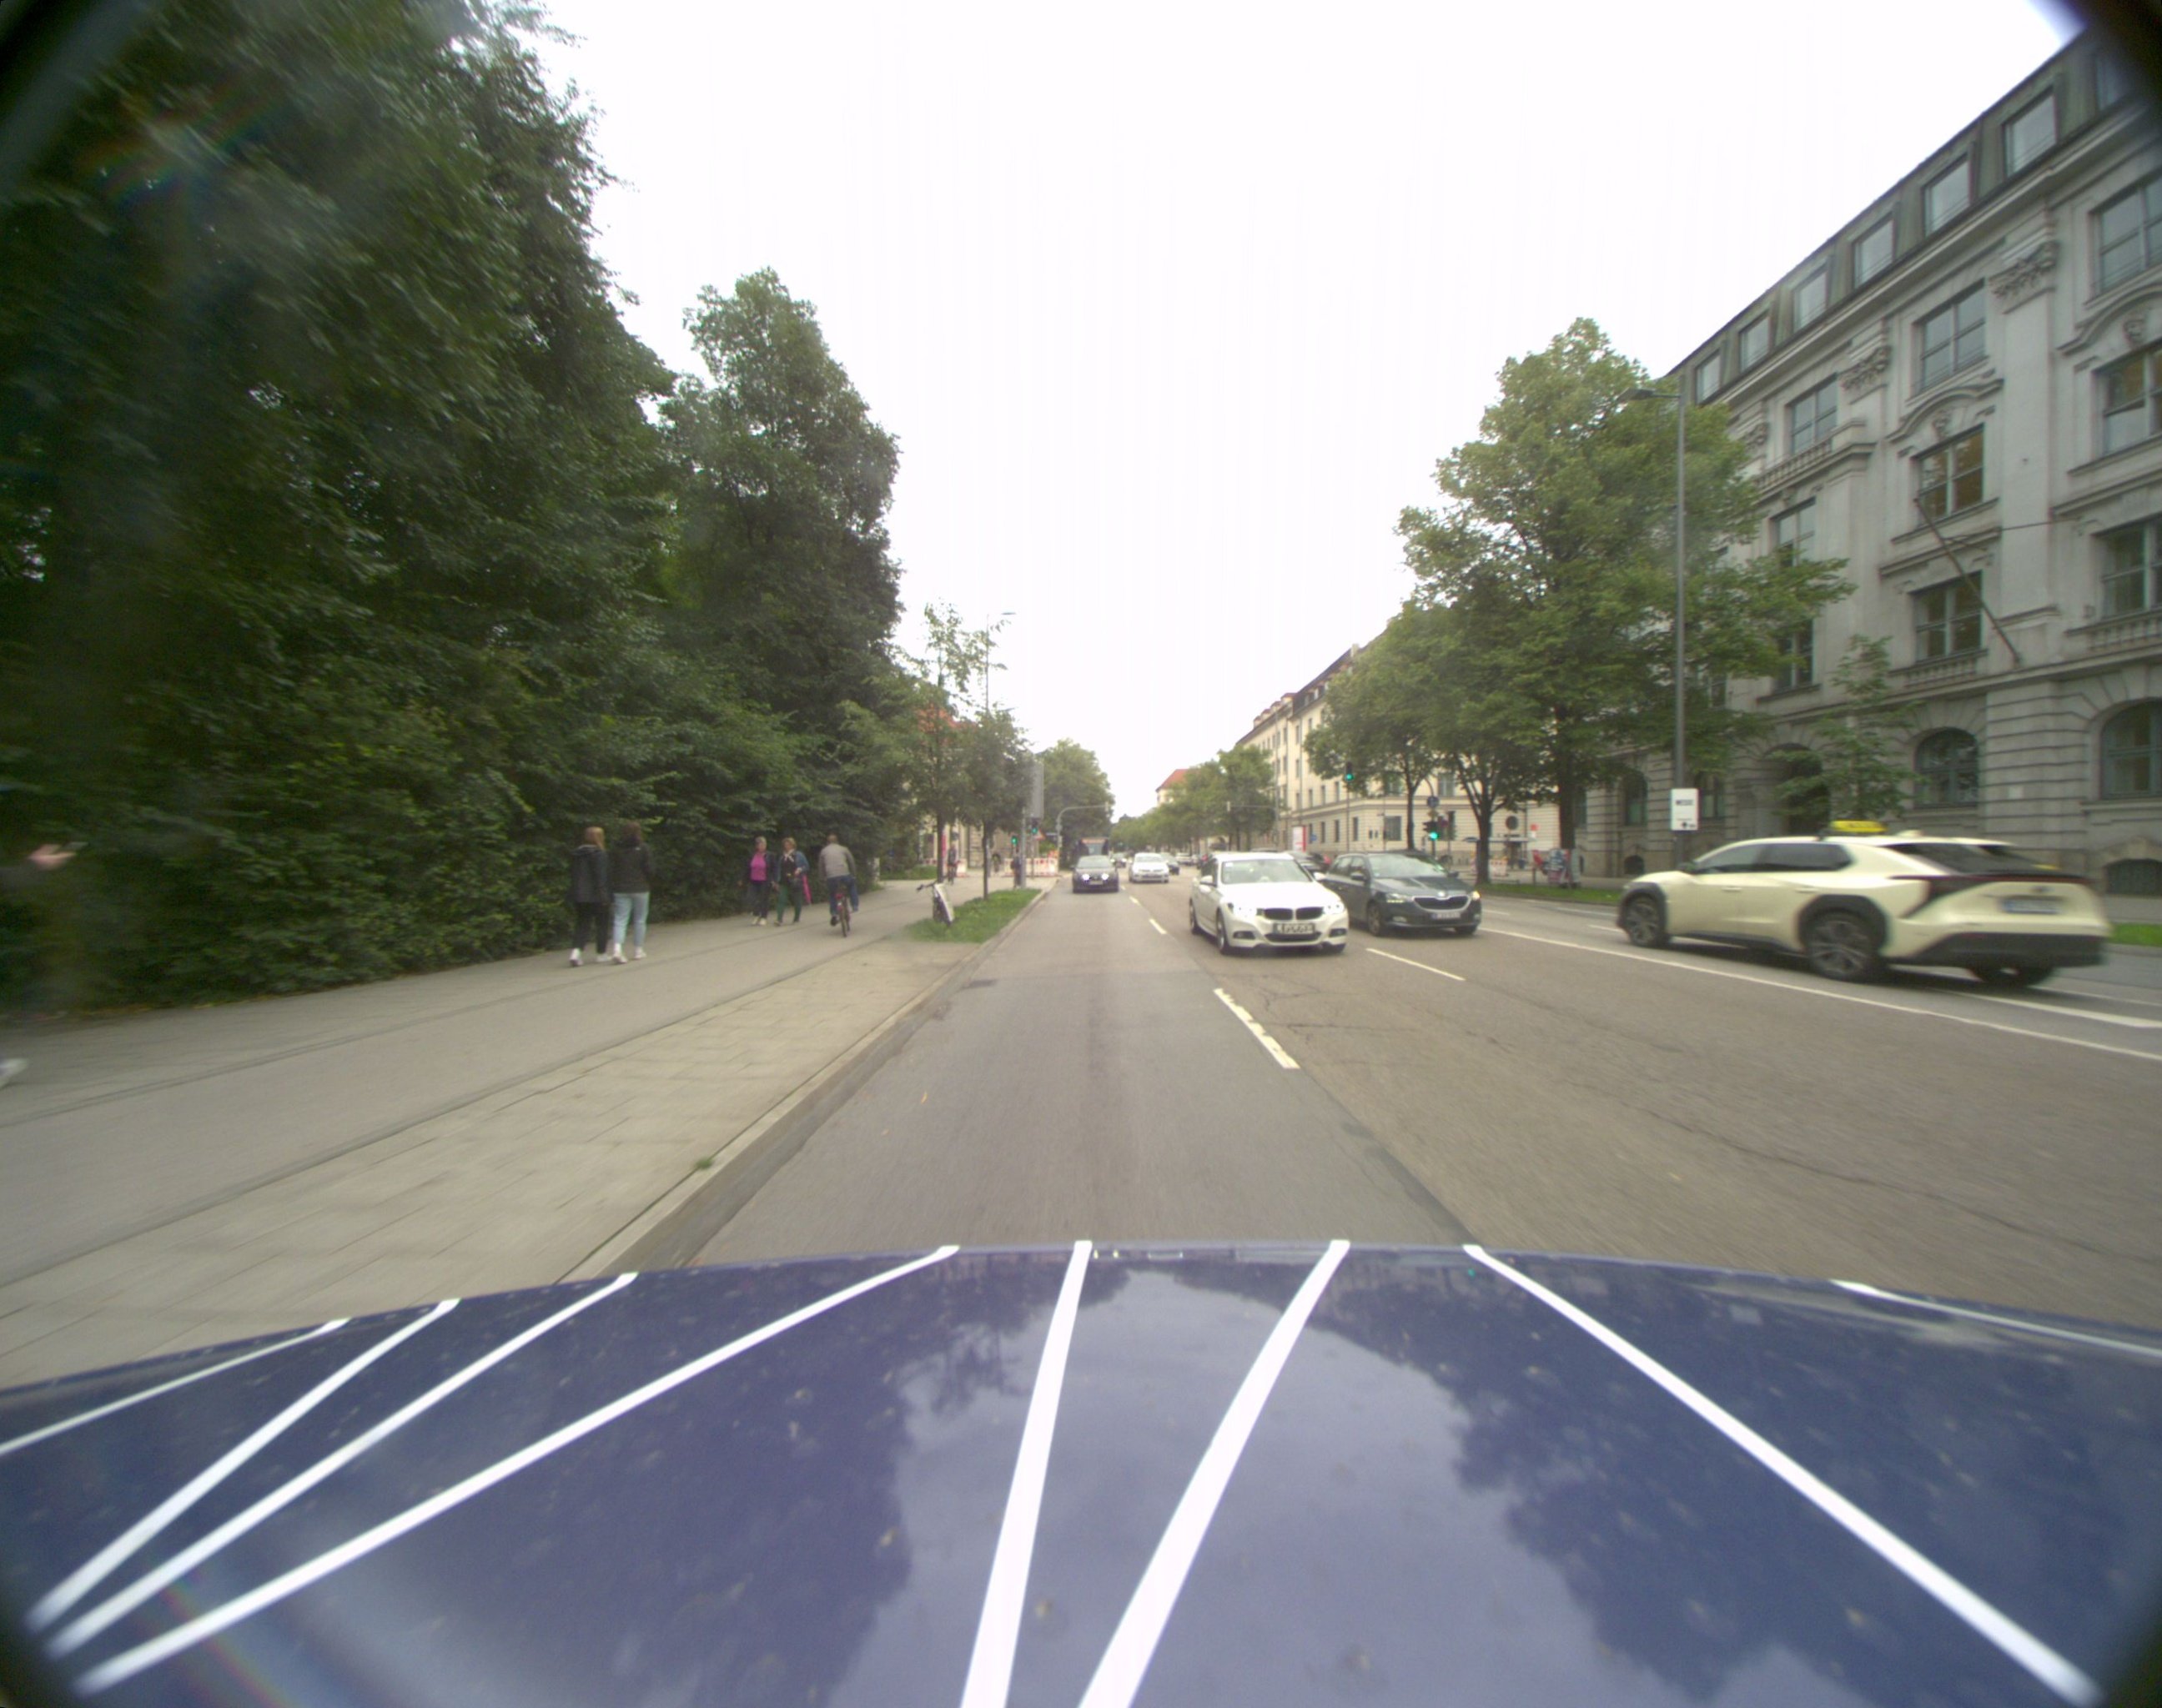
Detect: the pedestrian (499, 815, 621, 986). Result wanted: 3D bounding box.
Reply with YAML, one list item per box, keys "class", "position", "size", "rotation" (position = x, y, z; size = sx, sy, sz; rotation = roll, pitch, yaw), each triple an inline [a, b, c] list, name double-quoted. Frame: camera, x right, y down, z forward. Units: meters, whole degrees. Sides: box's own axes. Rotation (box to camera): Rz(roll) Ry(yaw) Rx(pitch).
- class: "pedestrian"
  position: [-6.130, 0.525, 8.997]
  size: [0.710, 1.904, 0.956]
  rotation: [-2, 1, 1]

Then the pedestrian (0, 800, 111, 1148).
- class: "pedestrian"
  position: [-5.955, 0.629, 3.879]
  size: [0.710, 1.798, 0.950]
  rotation: [-2, 1, 1]

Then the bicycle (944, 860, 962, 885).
- class: "bicycle"
  position: [-5.757, 0.810, 34.118]
  size: [0.740, 1.051, 2.161]
  rotation: [-2, 0, -10]

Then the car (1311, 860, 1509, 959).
- class: "car"
  position: [5.725, 0.876, 13.869]
  size: [1.797, 1.439, 4.274]
  rotation: [0, 1, 0]

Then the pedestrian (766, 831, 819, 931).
- class: "pedestrian"
  position: [-5.428, 0.495, 14.322]
  size: [0.672, 1.828, 0.641]
  rotation: [-2, 1, 2]

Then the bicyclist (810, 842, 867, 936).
- class: "bicyclist"
  position: [-4.154, 0.589, 13.048]
  size: [0.710, 1.553, 0.639]
  rotation: [-2, 1, 1]

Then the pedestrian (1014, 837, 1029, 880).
- class: "pedestrian"
  position: [-2.481, 0.193, 31.787]
  size: [0.626, 1.750, 0.635]
  rotation: [0, 1, -3]

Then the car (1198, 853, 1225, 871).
- class: "car"
  position: [12.516, 0.756, 73.107]
  size: [1.844, 1.646, 4.350]
  rotation: [1, 1, 1]

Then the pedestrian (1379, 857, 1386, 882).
- class: "pedestrian"
  position: [22.457, 1.125, 56.610]
  size: [0.502, 1.844, 0.528]
  rotation: [0, 1, 19]

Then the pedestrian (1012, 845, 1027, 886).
- class: "pedestrian"
  position: [-2.665, 0.472, 32.734]
  size: [0.610, 1.751, 0.635]
  rotation: [0, 1, -6]

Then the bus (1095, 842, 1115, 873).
- class: "bus"
  position: [2.044, 0.257, 66.164]
  size: [1.638, 2.570, 6.702]
  rotation: [0, 0, 1]

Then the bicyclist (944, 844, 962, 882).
- class: "bicyclist"
  position: [-5.771, 0.384, 34.216]
  size: [0.759, 1.657, 0.898]
  rotation: [-2, 1, -10]

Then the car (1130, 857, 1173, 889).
- class: "car"
  position: [3.427, 0.875, 37.592]
  size: [1.797, 1.439, 4.274]
  rotation: [0, 1, 0]

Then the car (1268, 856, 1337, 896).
- class: "car"
  position: [8.899, 0.835, 30.898]
  size: [1.771, 1.415, 4.748]
  rotation: [1, 0, 5]

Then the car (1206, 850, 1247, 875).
- class: "car"
  position: [9.174, 0.594, 48.328]
  size: [1.832, 1.533, 4.825]
  rotation: [0, -1, 2]

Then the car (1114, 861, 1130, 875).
- class: "car"
  position: [4.628, 1.565, 85.203]
  size: [1.638, 1.562, 3.946]
  rotation: [0, 0, 1]

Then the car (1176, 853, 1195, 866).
- class: "car"
  position: [12.838, 0.691, 93.192]
  size: [1.748, 1.586, 4.000]
  rotation: [2, 0, 0]

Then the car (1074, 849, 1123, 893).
- class: "car"
  position: [0.679, 0.607, 30.303]
  size: [1.797, 1.627, 4.274]
  rotation: [0, 1, 0]

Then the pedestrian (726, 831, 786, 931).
- class: "pedestrian"
  position: [-6.171, 0.498, 14.461]
  size: [0.753, 1.828, 0.756]
  rotation: [-2, 1, 2]

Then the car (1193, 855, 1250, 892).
- class: "car"
  position: [6.107, 0.818, 33.473]
  size: [1.696, 1.507, 4.338]
  rotation: [0, 0, 0]

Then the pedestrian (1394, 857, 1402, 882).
- class: "pedestrian"
  position: [23.586, 1.127, 56.545]
  size: [0.502, 1.844, 0.470]
  rotation: [0, 1, 19]

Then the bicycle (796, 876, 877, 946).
- class: "bicycle"
  position: [-4.162, 0.941, 13.090]
  size: [0.676, 1.024, 2.012]
  rotation: [-2, 0, 1]

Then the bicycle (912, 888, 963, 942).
- class: "bicycle"
  position: [-2.525, 1.053, 13.563]
  size: [0.494, 0.789, 1.889]
  rotation: [-2, 0, 1]

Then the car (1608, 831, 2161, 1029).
- class: "car"
  position: [8.863, 0.682, 9.150]
  size: [1.861, 1.738, 4.630]
  rotation: [1, 0, 1]

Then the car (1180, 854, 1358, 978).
- class: "car"
  position: [2.885, 0.843, 12.842]
  size: [1.797, 1.627, 5.026]
  rotation: [0, 1, 0]

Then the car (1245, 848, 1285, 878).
- class: "car"
  position: [12.228, 0.577, 50.771]
  size: [1.832, 1.740, 4.260]
  rotation: [2, 2, 4]

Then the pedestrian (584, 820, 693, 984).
- class: "pedestrian"
  position: [-5.444, 0.564, 9.407]
  size: [0.710, 1.904, 0.956]
  rotation: [-2, 1, 1]

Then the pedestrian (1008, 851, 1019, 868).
- class: "pedestrian"
  position: [-7.088, 0.585, 79.839]
  size: [1.067, 1.754, 0.774]
  rotation: [-2, 1, -5]
